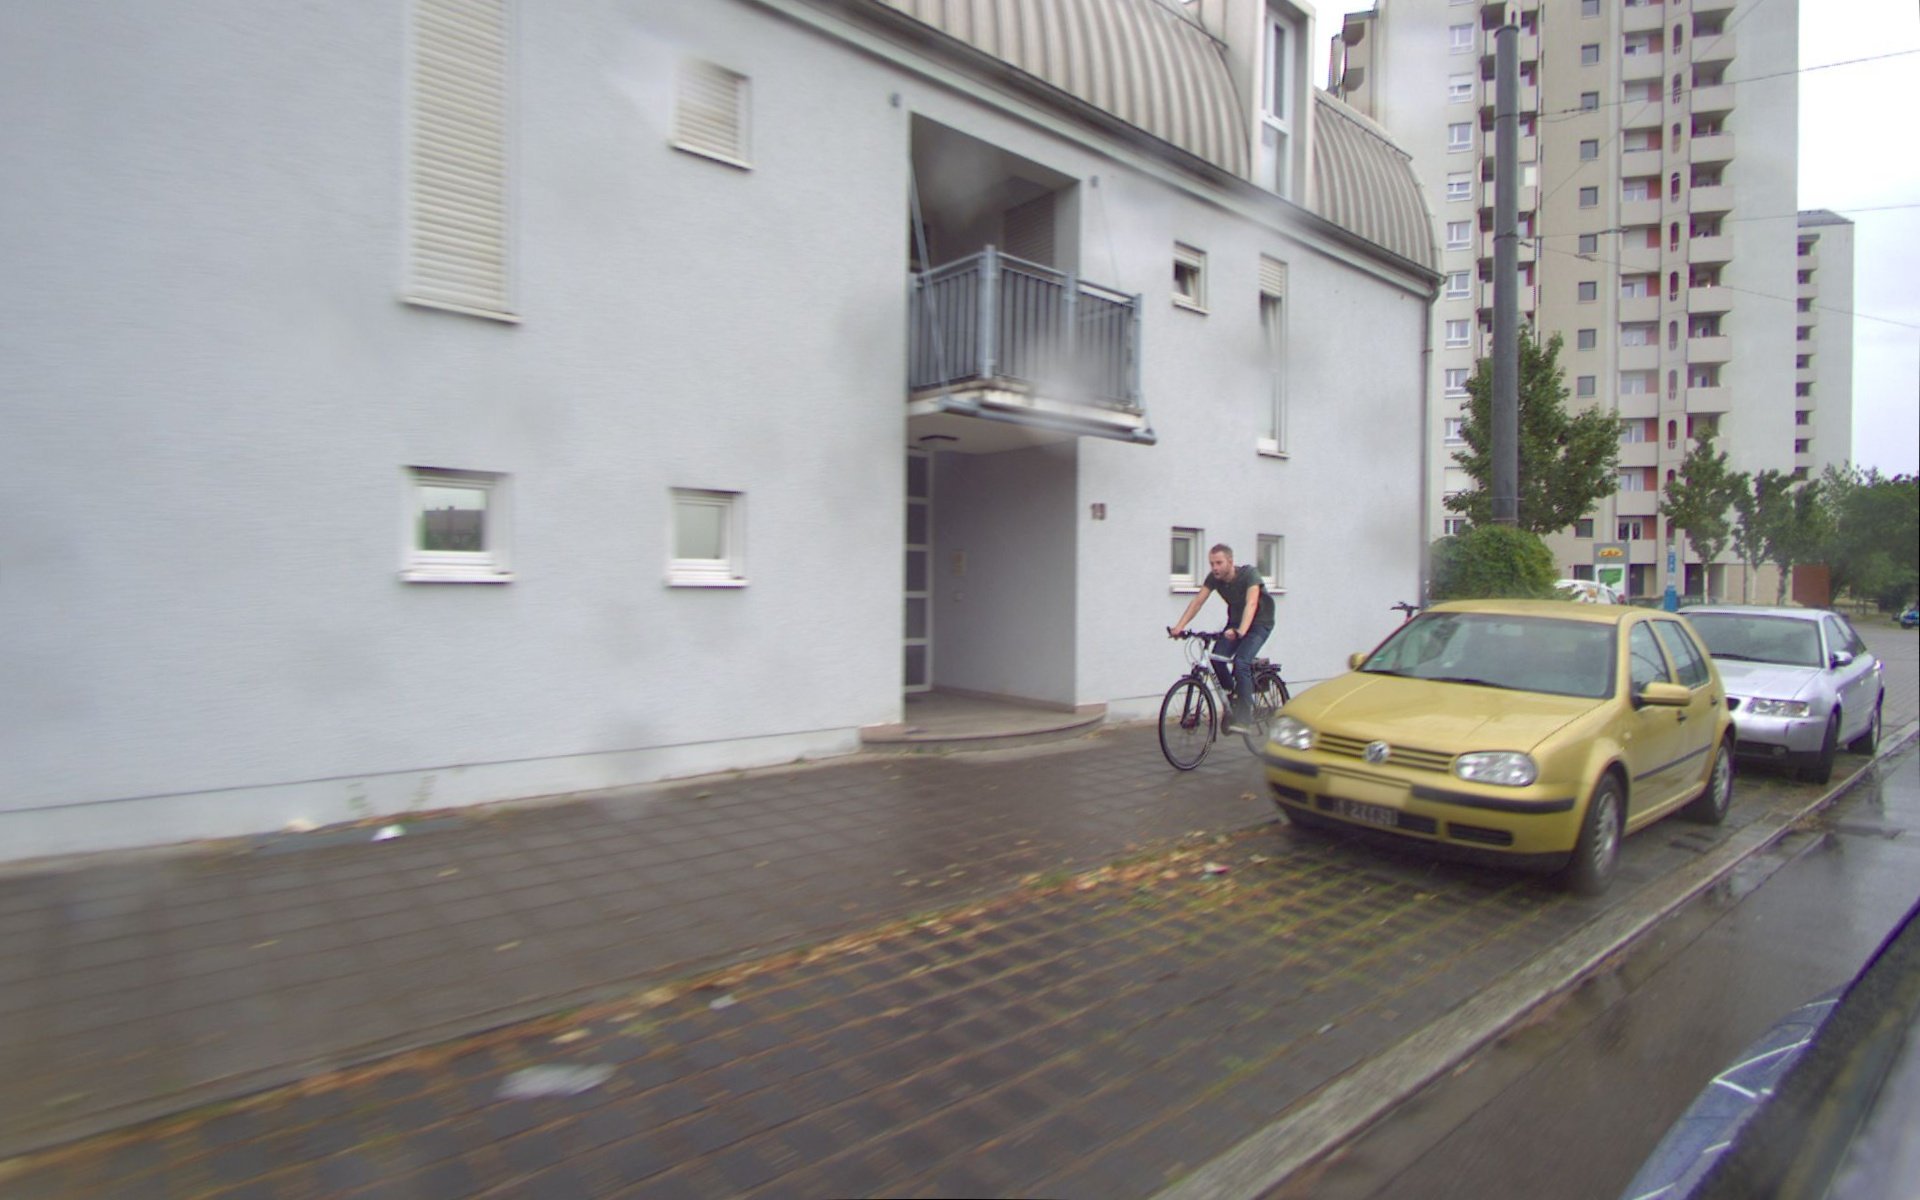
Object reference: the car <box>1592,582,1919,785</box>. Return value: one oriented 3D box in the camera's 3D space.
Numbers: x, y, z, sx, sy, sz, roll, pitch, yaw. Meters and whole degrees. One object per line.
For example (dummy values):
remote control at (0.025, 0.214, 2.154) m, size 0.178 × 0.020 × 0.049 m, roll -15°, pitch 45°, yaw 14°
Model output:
car at (7.864, 0.595, 9.758) m, size 4.568 × 1.422 × 1.654 m, roll -1°, pitch 4°, yaw -41°

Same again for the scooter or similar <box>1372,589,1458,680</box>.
scooter or similar at (5.757, 0.413, 12.781) m, size 1.369 × 1.098 × 0.334 m, roll -1°, pitch 0°, yaw -36°

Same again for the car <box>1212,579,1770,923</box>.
car at (3.477, 0.632, 6.375) m, size 3.727 × 1.422 × 1.811 m, roll -1°, pitch 4°, yaw -41°

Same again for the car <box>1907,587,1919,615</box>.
car at (56.917, 0.160, 57.544) m, size 4.116 × 1.567 × 1.761 m, roll 3°, pitch 1°, yaw 8°

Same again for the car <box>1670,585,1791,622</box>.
car at (35.736, 0.185, 47.053) m, size 4.058 × 1.637 × 1.804 m, roll -1°, pitch -1°, yaw 18°

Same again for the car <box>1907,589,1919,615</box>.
car at (66.889, 0.247, 67.974) m, size 4.389 × 1.692 × 1.808 m, roll 3°, pitch 1°, yaw 10°

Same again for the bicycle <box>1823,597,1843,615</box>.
bicycle at (50.504, 0.329, 58.545) m, size 2.023 × 1.019 × 0.662 m, roll -1°, pitch 0°, yaw -43°

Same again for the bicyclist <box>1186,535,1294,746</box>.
bicyclist at (2.229, 0.299, 8.038) m, size 0.533 × 1.579 × 0.761 m, roll -1°, pitch 0°, yaw 41°

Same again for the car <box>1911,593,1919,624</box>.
car at (50.255, 0.446, 51.284) m, size 2.522 × 1.567 × 1.600 m, roll 1°, pitch 1°, yaw 8°

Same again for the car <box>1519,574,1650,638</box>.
car at (19.016, 0.193, 30.719) m, size 4.809 × 1.807 × 1.967 m, roll 1°, pitch -1°, yaw -40°

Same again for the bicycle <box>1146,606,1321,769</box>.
bicycle at (2.210, 0.622, 8.005) m, size 0.536 × 1.107 × 1.919 m, roll -1°, pitch 0°, yaw 42°

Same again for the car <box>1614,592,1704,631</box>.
car at (28.026, 0.429, 40.707) m, size 1.975 × 1.459 × 3.974 m, roll -1°, pitch 0°, yaw 20°

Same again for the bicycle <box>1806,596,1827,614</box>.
bicycle at (50.026, 0.276, 59.089) m, size 2.023 × 1.019 × 0.662 m, roll -1°, pitch 0°, yaw -43°
